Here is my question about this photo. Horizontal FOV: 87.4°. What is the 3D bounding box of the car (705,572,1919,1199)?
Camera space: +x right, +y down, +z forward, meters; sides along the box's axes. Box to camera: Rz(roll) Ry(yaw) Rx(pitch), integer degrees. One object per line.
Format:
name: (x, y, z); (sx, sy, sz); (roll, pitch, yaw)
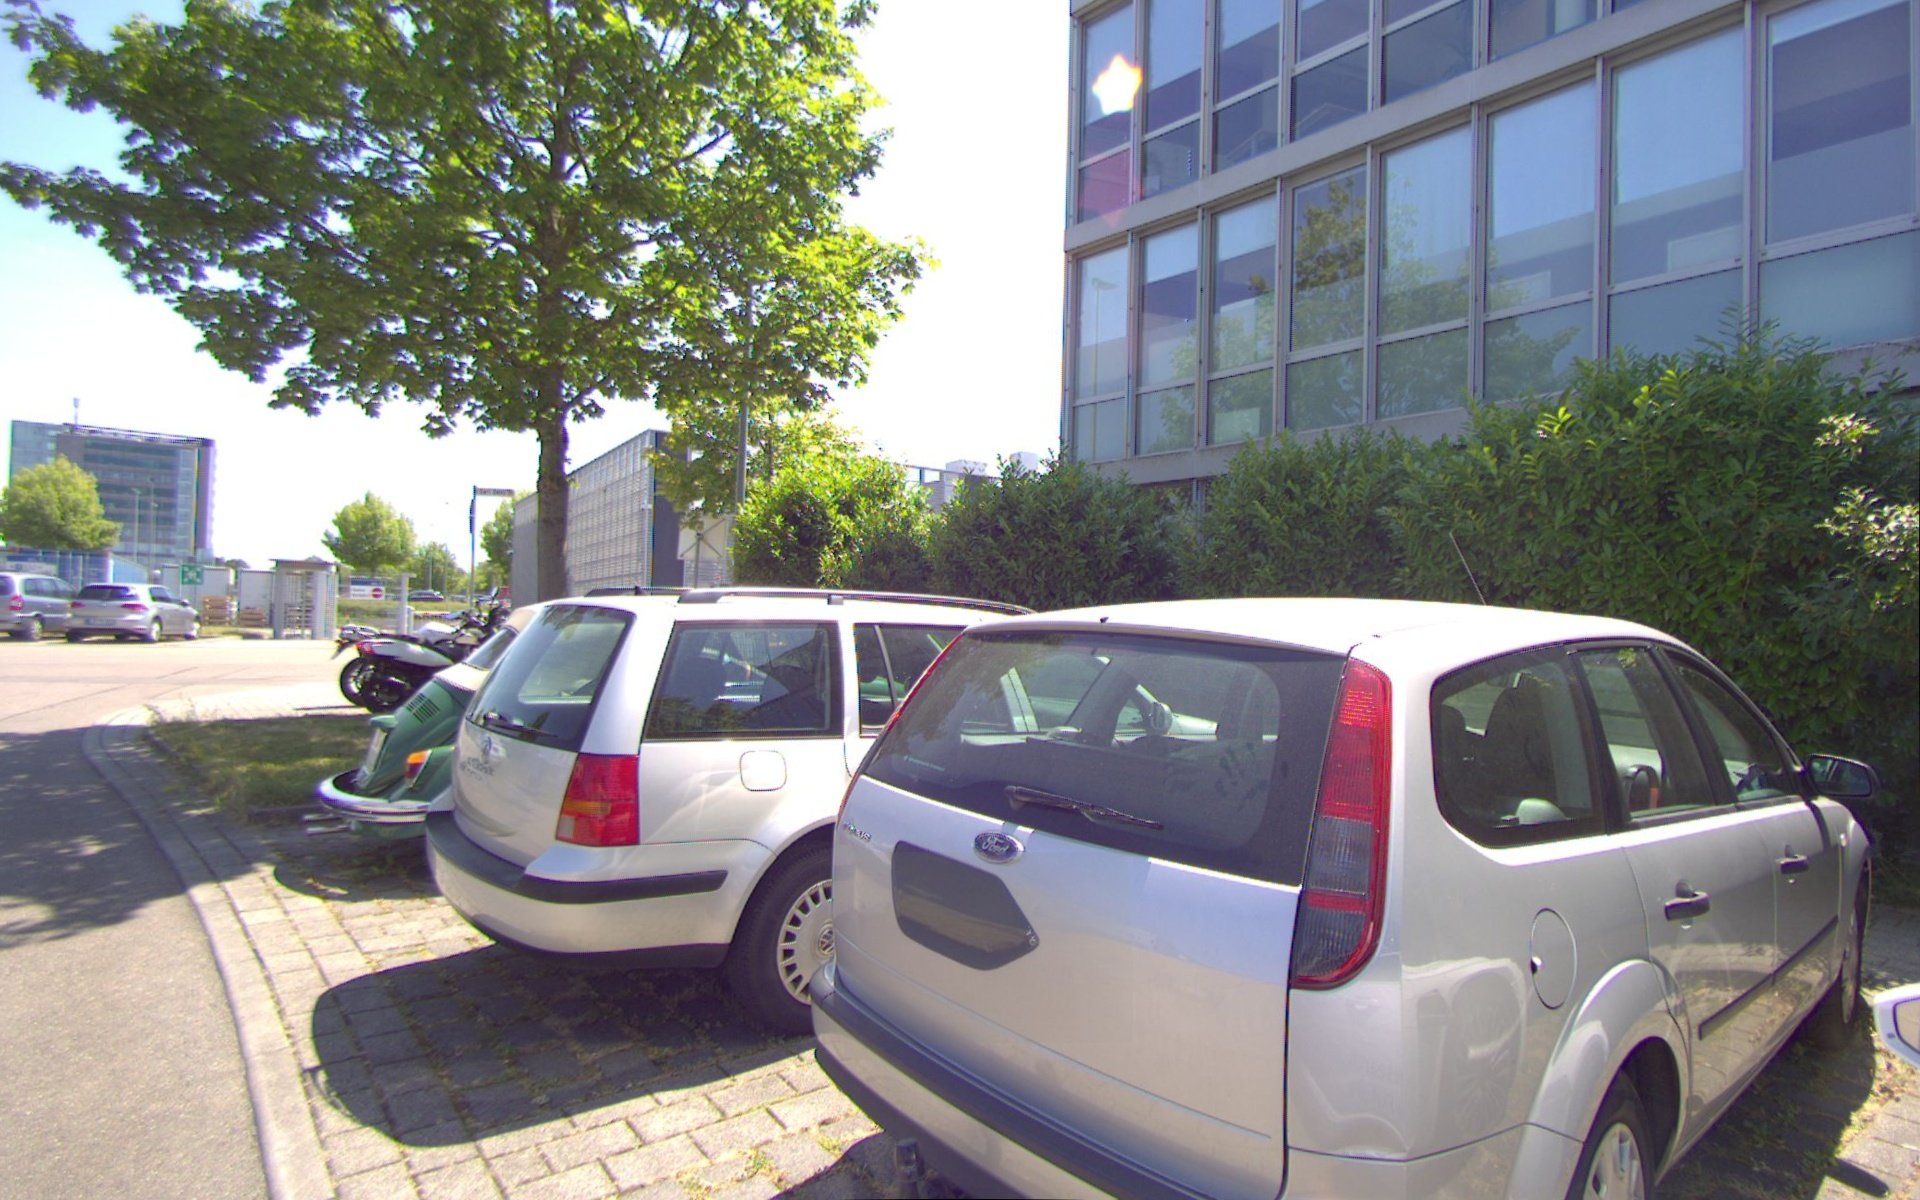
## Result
car: (1.582, 0.778, 3.194); (4.312, 1.499, 1.705); (2, -1, -39)

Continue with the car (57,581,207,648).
car: (-20.925, 0.359, 25.582); (1.628, 1.542, 3.982); (2, -1, -19)

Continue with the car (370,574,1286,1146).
car: (-0.281, 0.733, 4.550); (3.863, 1.499, 1.632); (2, -1, -42)

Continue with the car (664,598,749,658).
car: (-7.417, 0.777, 29.168); (1.970, 1.616, 3.981); (1, -1, -20)

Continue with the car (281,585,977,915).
car: (-1.866, 0.719, 6.391); (3.863, 1.468, 1.632); (2, -1, -42)

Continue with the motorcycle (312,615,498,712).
motorcycle: (-6.930, 0.765, 12.622); (1.975, 1.123, 0.478); (2, 0, -43)

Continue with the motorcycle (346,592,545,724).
motorcycle: (-5.916, 0.644, 11.645); (1.975, 1.408, 0.478); (2, 0, -43)

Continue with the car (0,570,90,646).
car: (-23.264, 0.163, 24.816); (1.750, 1.761, 3.971); (2, -1, -28)
